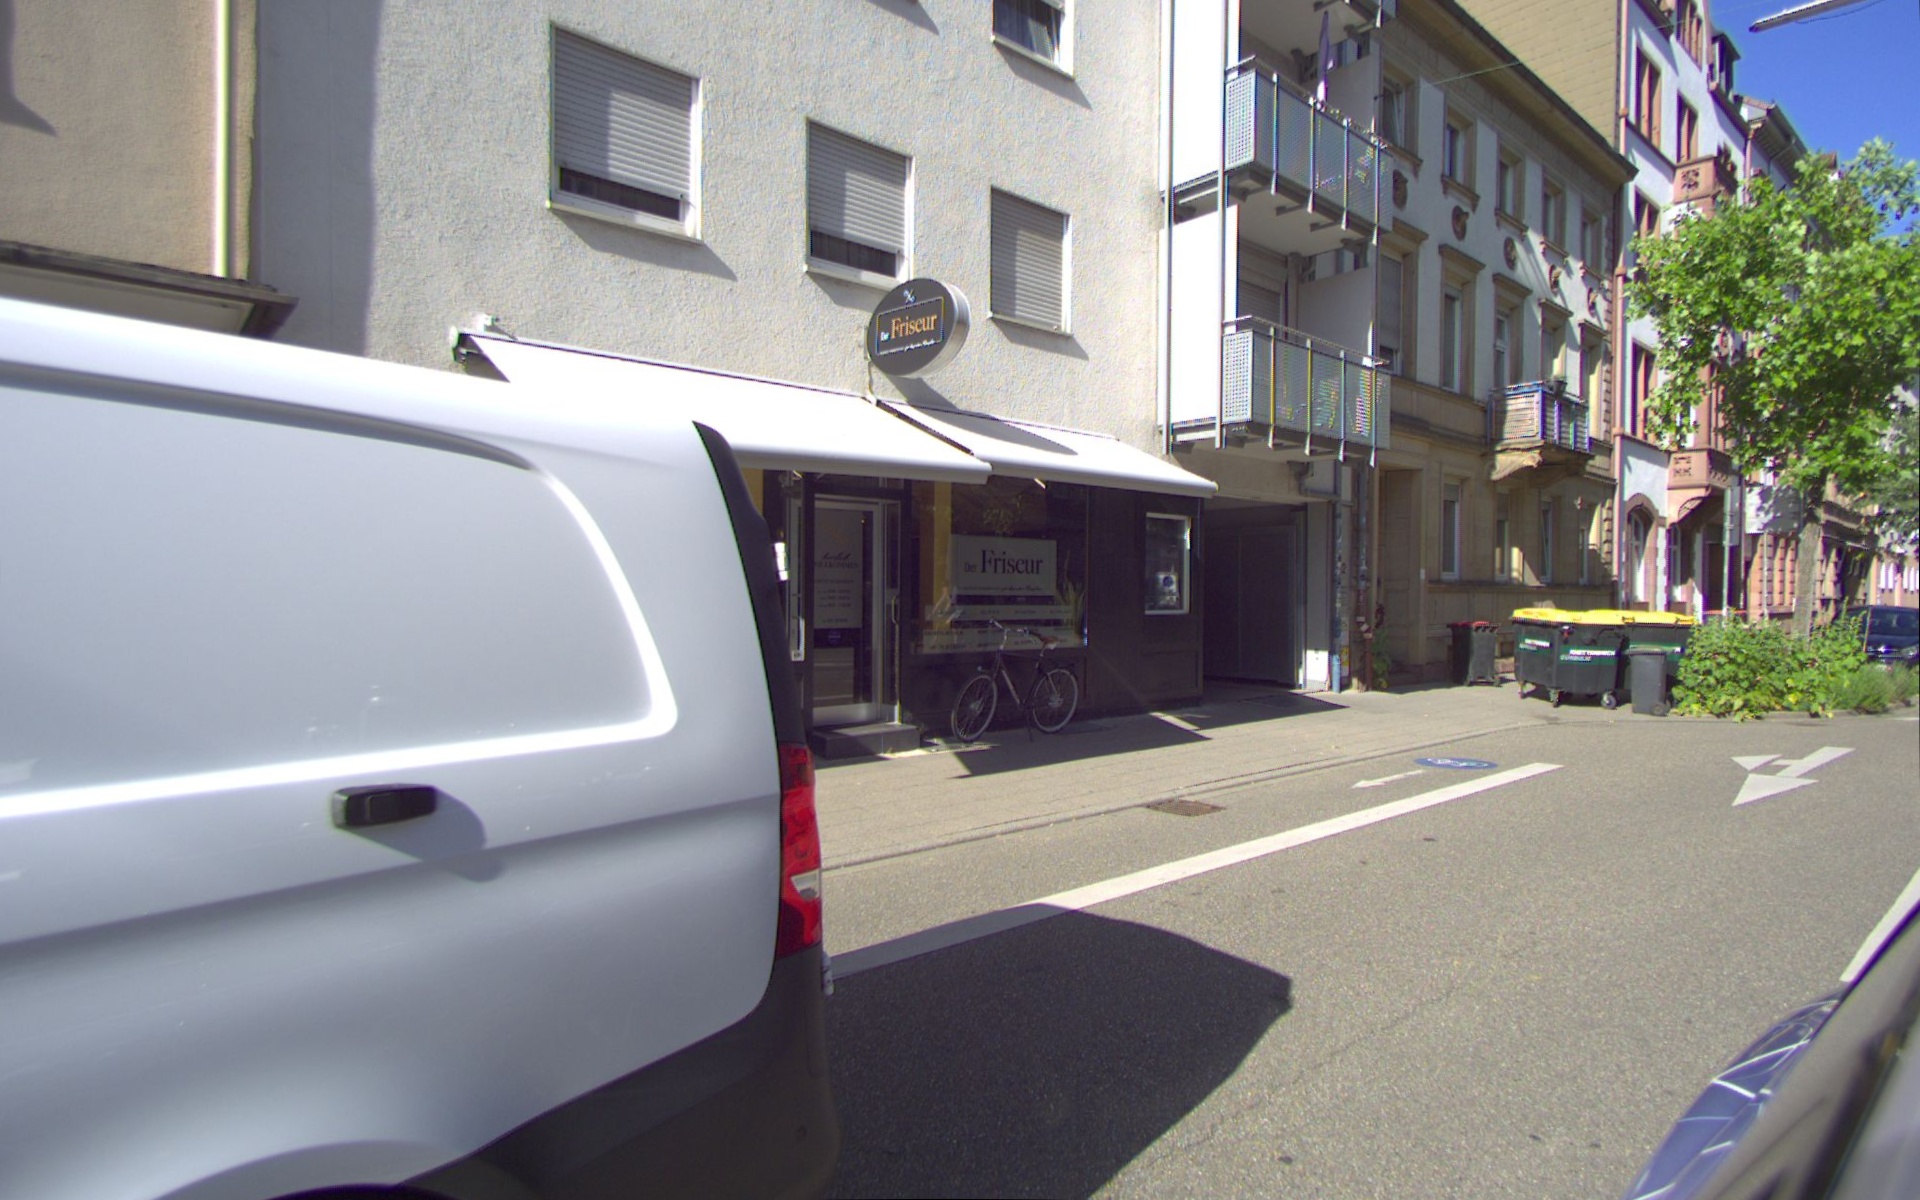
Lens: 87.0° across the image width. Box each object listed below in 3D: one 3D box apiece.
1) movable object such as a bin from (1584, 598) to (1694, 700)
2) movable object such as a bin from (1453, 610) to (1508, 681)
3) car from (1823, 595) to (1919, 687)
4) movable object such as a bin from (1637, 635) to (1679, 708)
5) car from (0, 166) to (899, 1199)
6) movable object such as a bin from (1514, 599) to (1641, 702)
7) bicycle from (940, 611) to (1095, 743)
[{"bbox_3d":[9.962,0.687,14.892,0.943,1.365,1.066,1,3,11],"label":"movable object such as a bin"},{"bbox_3d":[8.536,0.742,16.615,0.557,1.094,0.617,1,3,1],"label":"movable object such as a bin"},{"bbox_3d":[16.841,0.674,18.206,3.293,1.510,1.550,0,1,-41],"label":"car"},{"bbox_3d":[9.575,0.972,13.878,0.399,0.933,0.478,3,3,41],"label":"movable object such as a bin"},{"bbox_3d":[-2.523,0.492,0.863,4.912,1.892,1.838,0,1,-43],"label":"car"},{"bbox_3d":[8.846,0.702,14.569,1.030,1.341,1.216,1,3,1],"label":"movable object such as a bin"},{"bbox_3d":[0.606,0.721,10.096,1.760,1.193,0.402,0,0,-41],"label":"bicycle"}]
